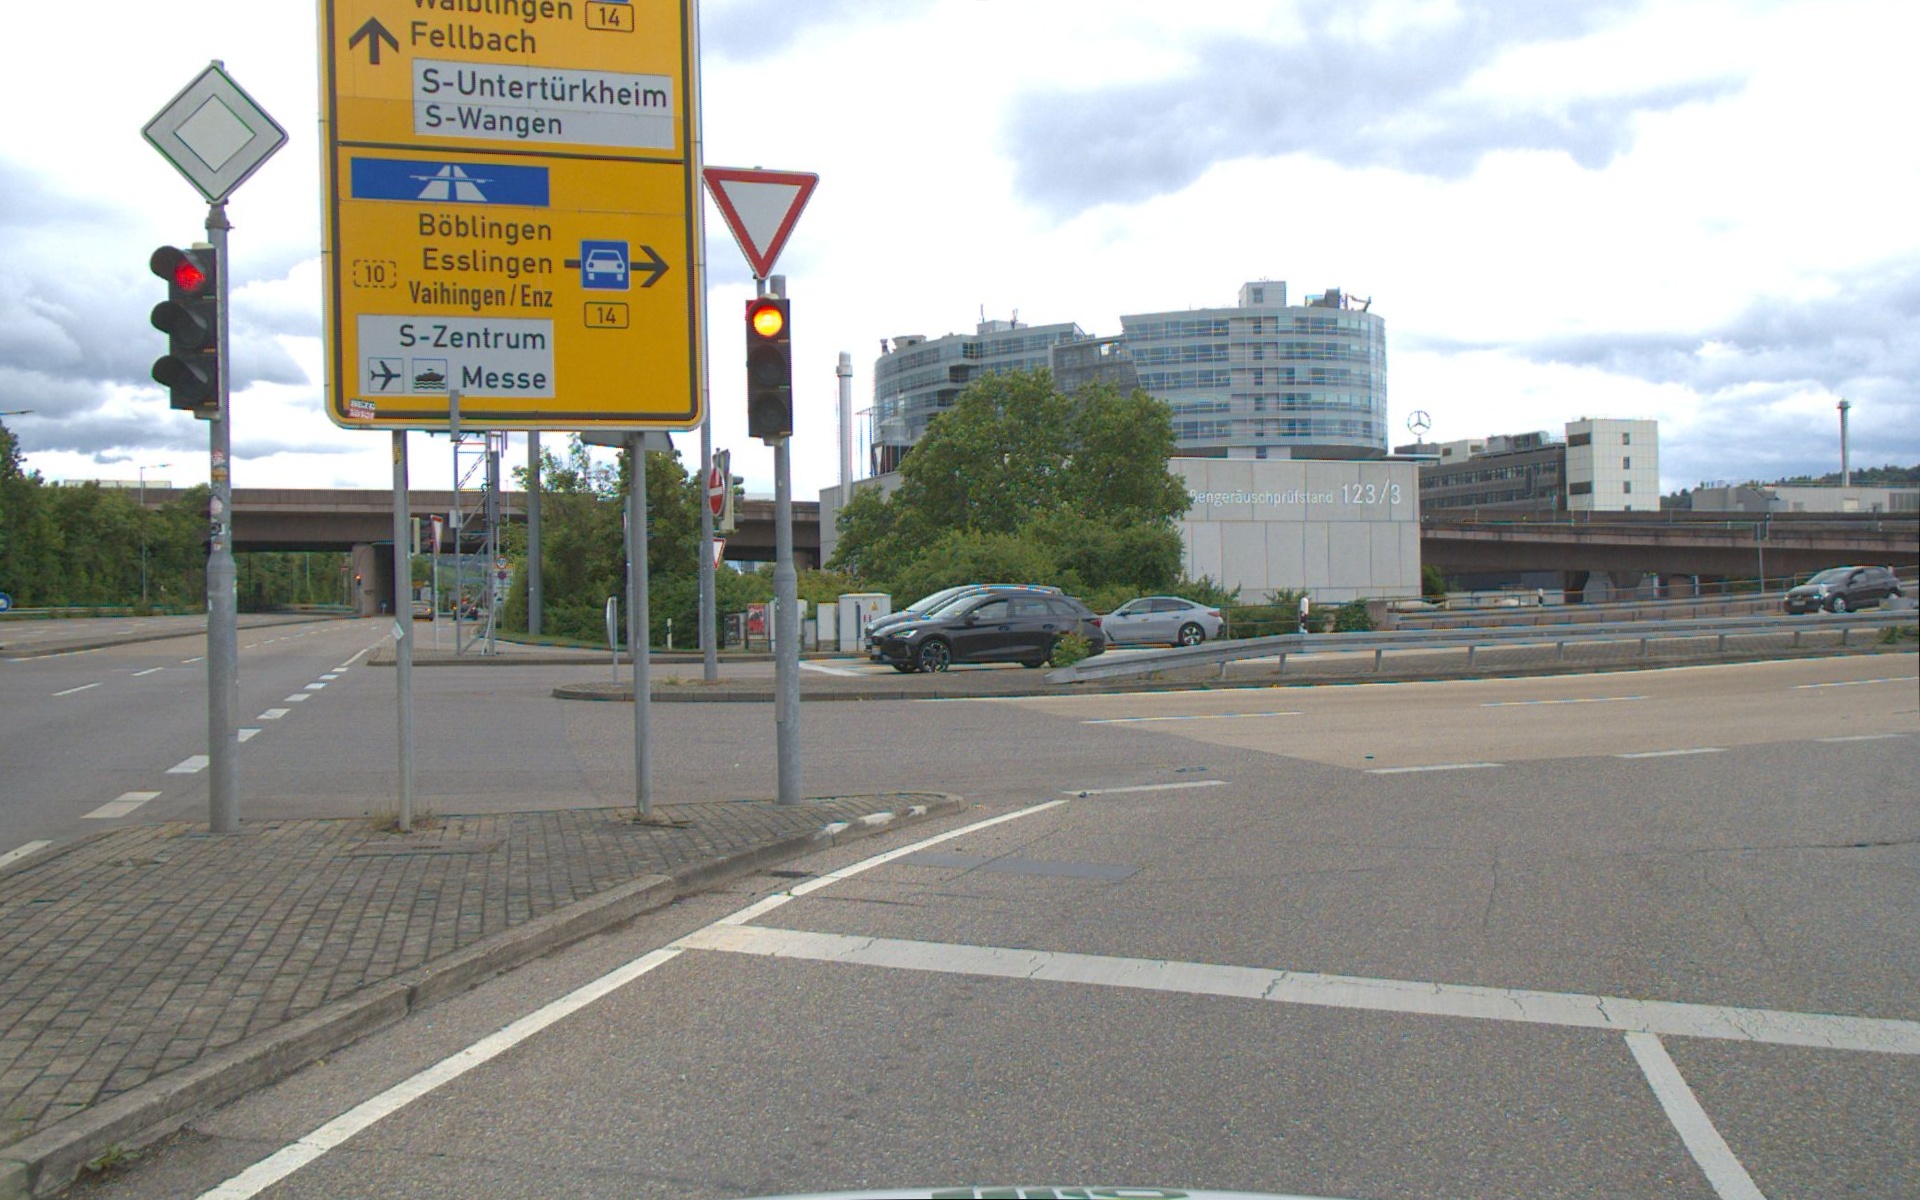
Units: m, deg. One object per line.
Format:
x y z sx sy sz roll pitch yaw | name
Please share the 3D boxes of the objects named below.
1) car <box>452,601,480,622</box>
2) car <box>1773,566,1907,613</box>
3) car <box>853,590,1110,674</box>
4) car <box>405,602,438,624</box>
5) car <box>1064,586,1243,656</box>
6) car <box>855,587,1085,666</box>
-37.982 0.876 127.145 1.962 1.490 4.090 1 -2 -17 | car
28.223 -0.362 53.025 3.933 1.446 1.899 -1 2 -27 | car
0.392 0.561 31.501 4.537 1.482 1.945 0 1 -20 | car
-38.128 0.949 117.133 1.960 1.467 4.093 1 -2 -15 | car
5.398 0.572 46.494 4.639 1.691 1.913 3 0 -5 | car
0.205 0.525 35.720 4.608 1.599 1.945 0 1 -20 | car
